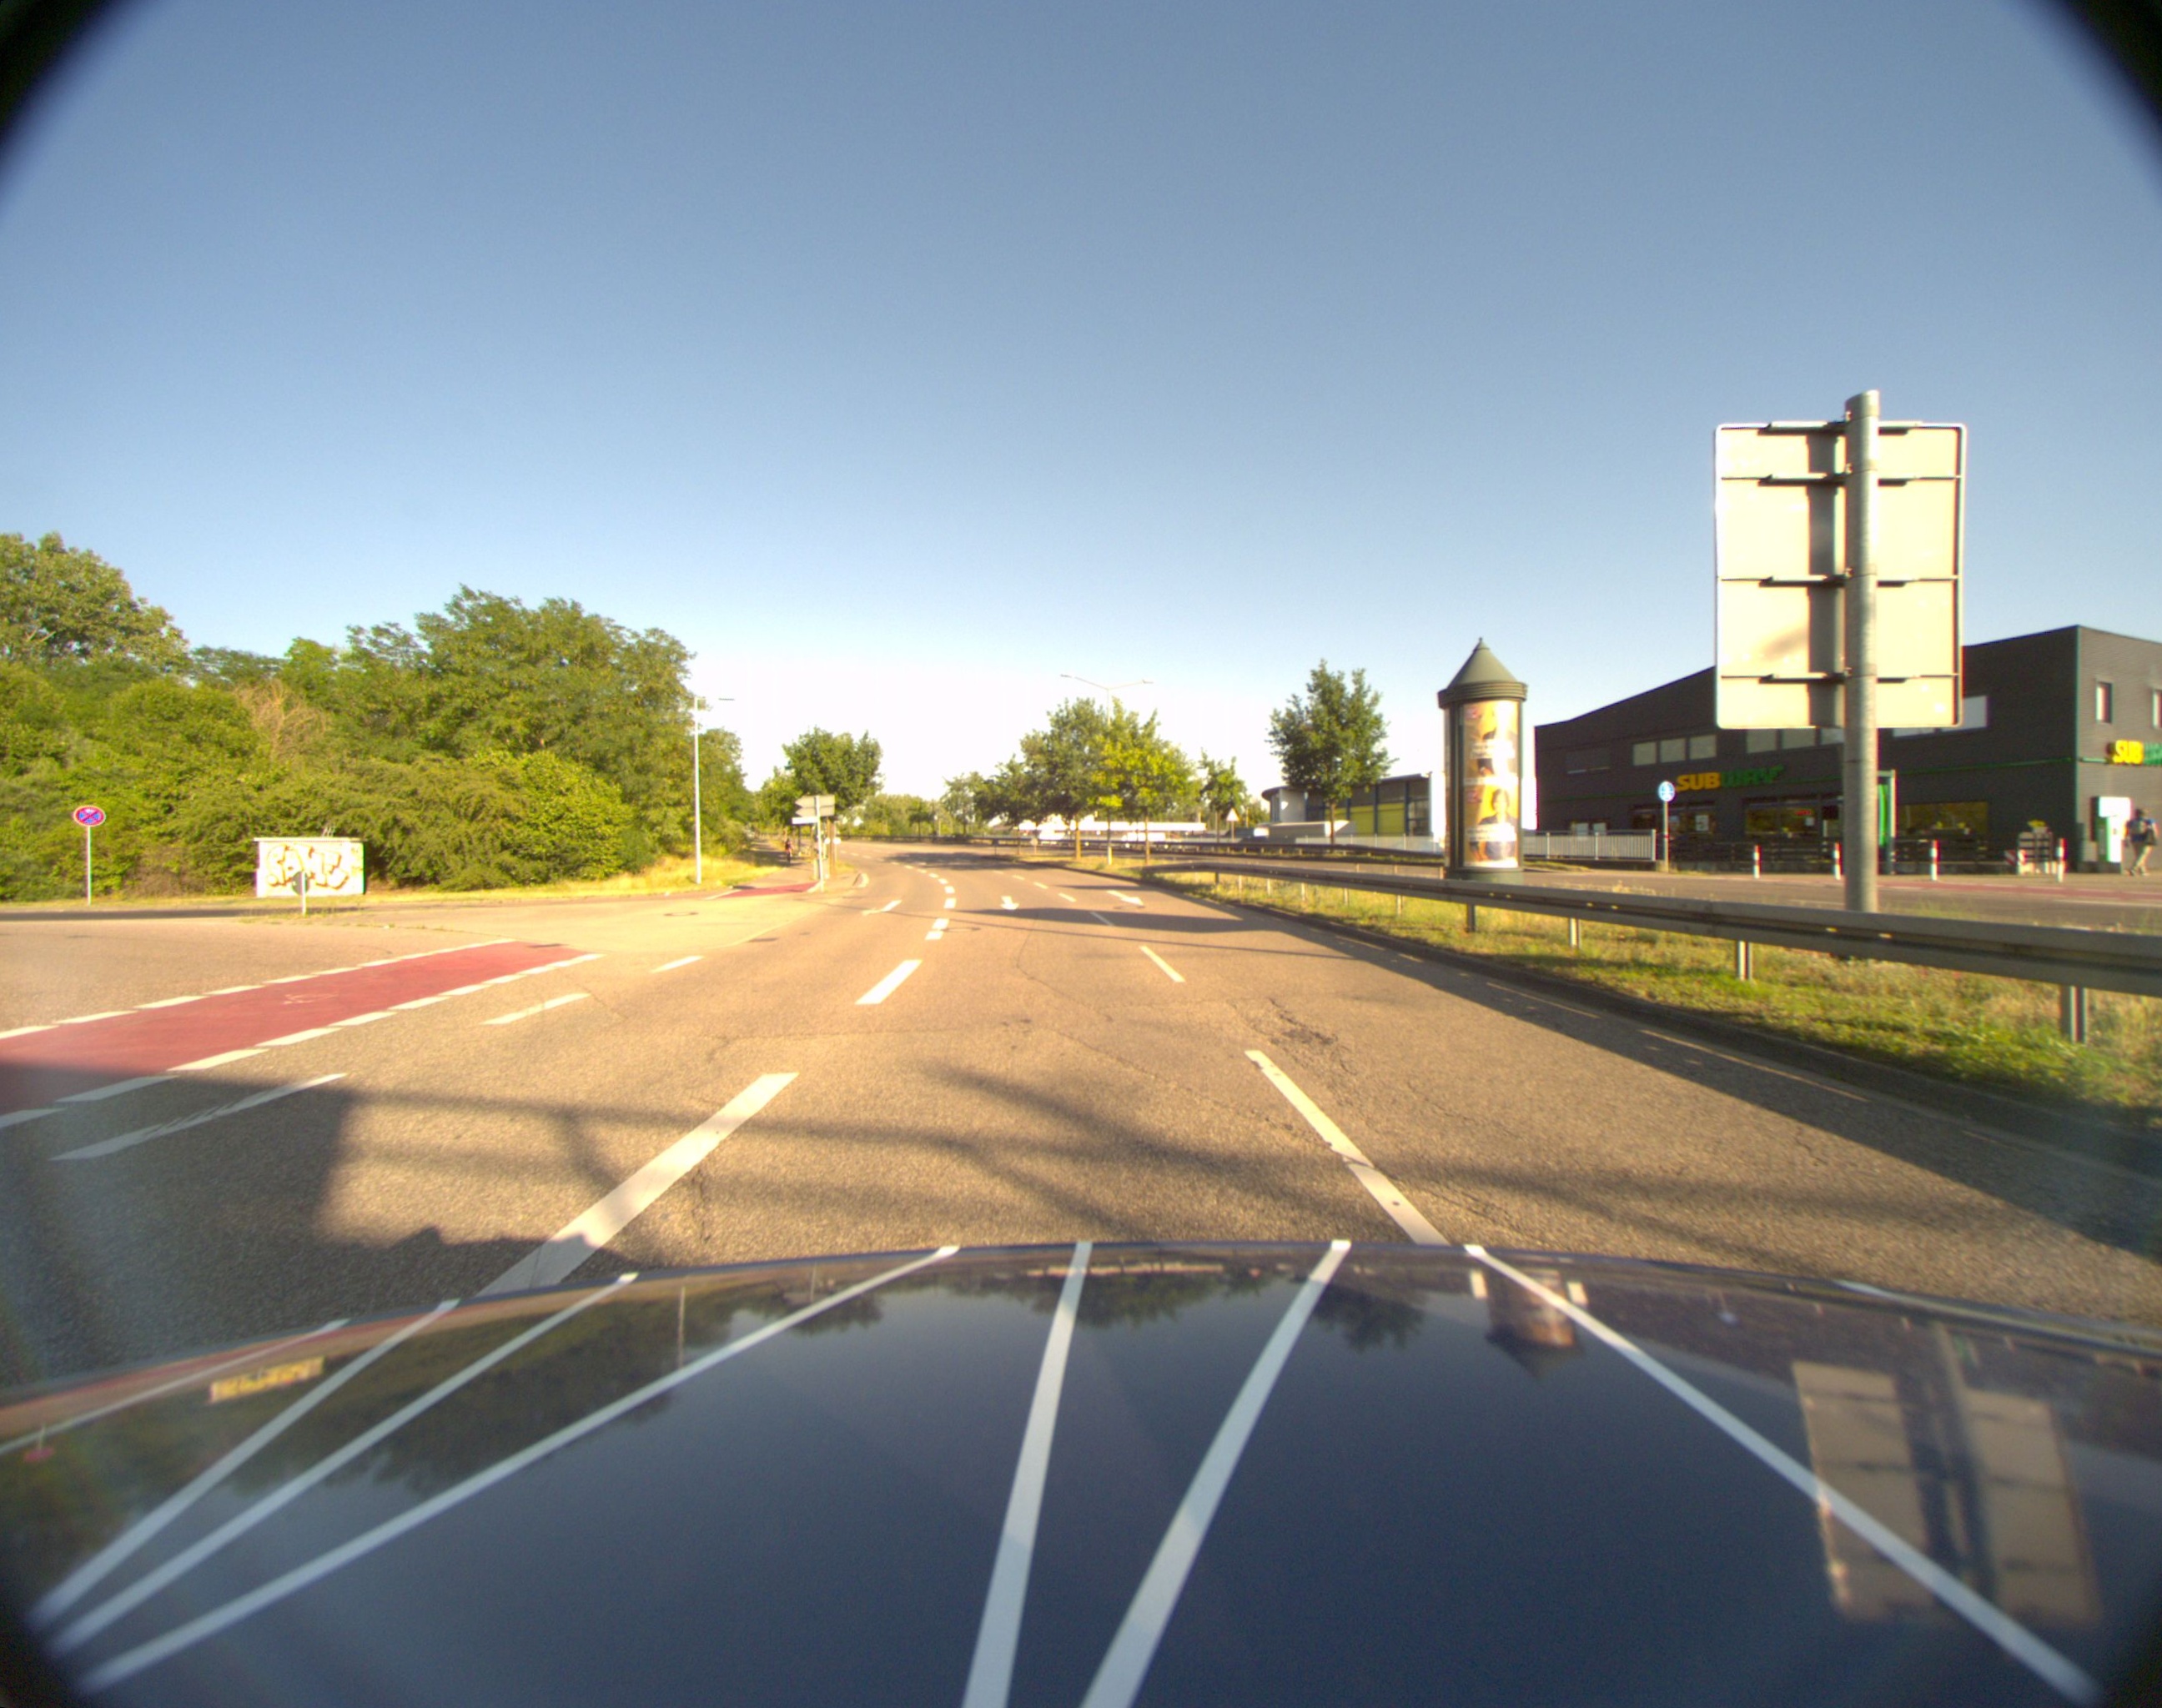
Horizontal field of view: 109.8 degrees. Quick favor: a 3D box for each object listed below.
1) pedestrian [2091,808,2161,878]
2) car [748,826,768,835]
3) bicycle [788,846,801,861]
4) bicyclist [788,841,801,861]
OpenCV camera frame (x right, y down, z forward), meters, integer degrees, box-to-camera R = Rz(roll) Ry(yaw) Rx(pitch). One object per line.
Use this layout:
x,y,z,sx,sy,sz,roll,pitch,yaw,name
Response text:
29.009,-0.315,20.792,1.275,1.825,1.085,-2,2,1,pedestrian
-65.522,-4.746,153.956,3.989,1.762,2.004,-1,2,39,car
-20.922,-0.057,55.530,0.783,1.051,2.492,-3,1,-21,bicycle
-20.981,-0.251,55.616,0.844,1.413,1.112,-3,2,-21,bicyclist
